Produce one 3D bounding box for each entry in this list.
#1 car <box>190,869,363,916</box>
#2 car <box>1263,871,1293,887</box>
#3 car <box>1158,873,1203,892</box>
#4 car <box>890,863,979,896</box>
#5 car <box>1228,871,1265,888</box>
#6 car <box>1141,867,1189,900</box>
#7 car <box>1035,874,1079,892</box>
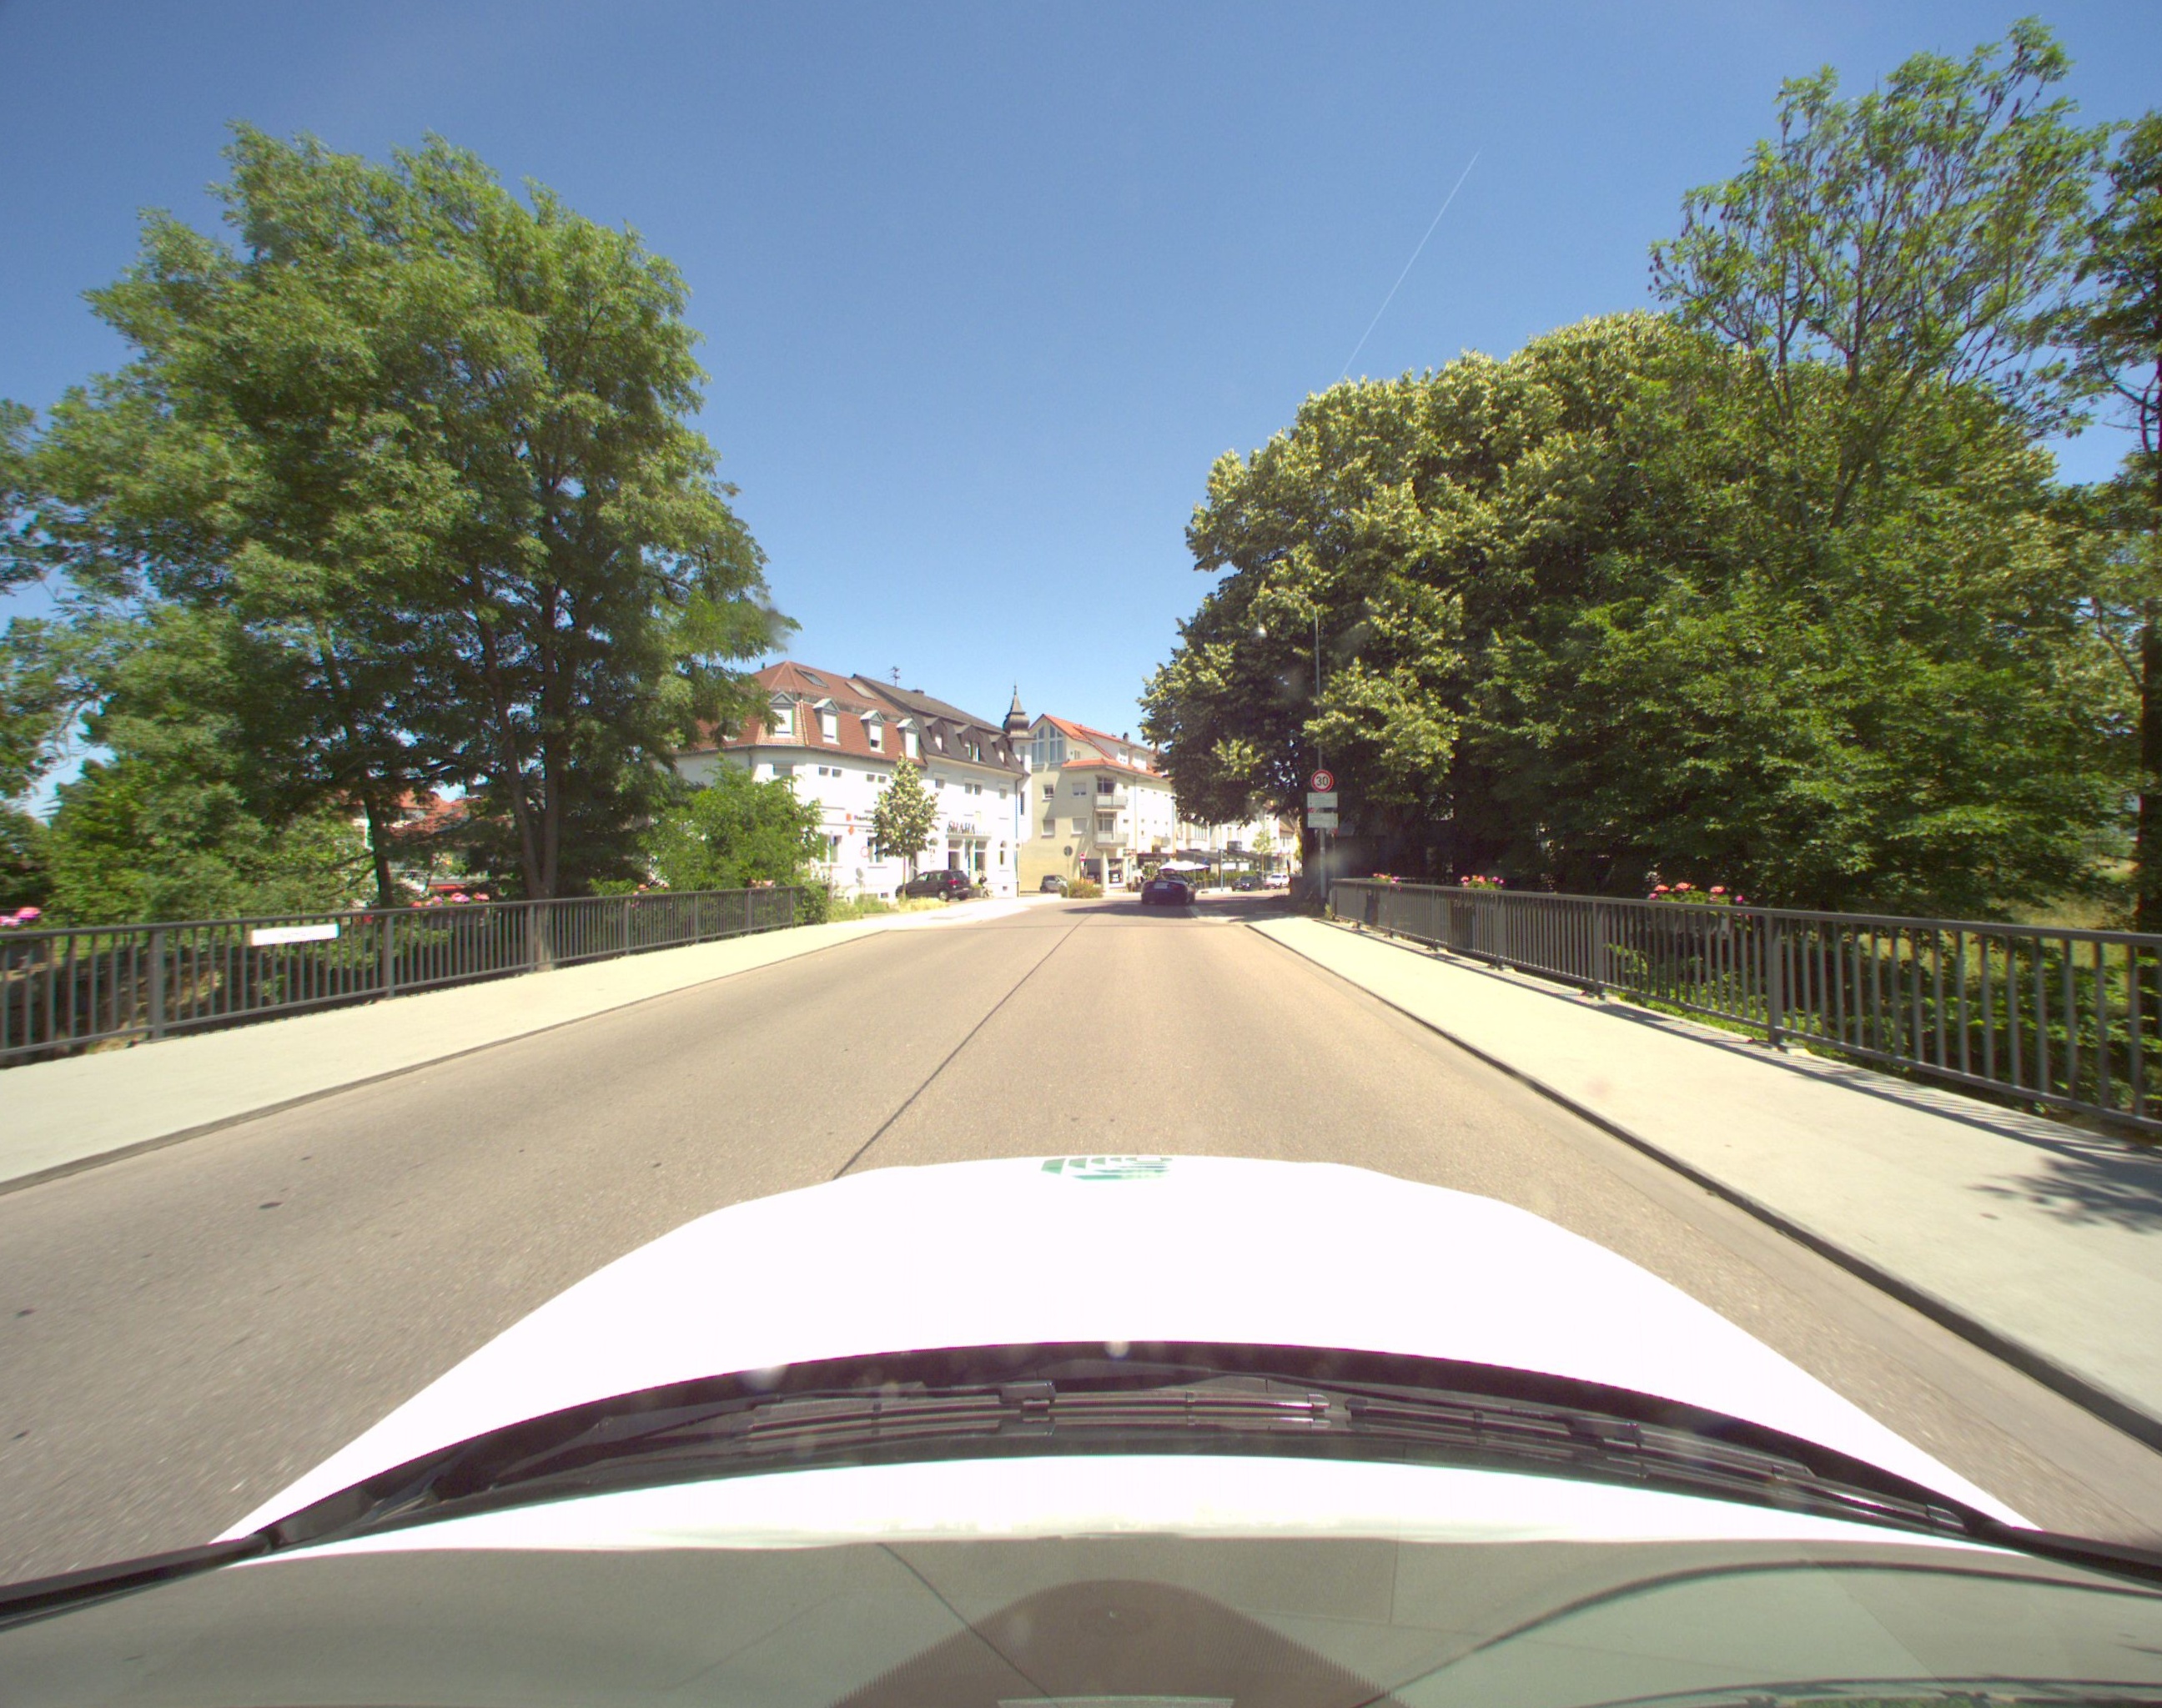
[{"bbox_3d":[-28.884,1.342,29.375,3.985,1.542,1.994,-1,-1,-8],"label":"car"},{"bbox_3d":[19.714,2.482,81.419,1.629,1.479,3.965,0,0,34],"label":"car"},{"bbox_3d":[8.184,2.290,66.544,1.696,1.461,4.155,1,-1,39],"label":"car"},{"bbox_3d":[-7.673,1.322,42.675,4.143,1.662,1.982,-1,-1,24],"label":"car"},{"bbox_3d":[15.258,2.324,75.083,1.817,1.429,4.812,0,-1,31],"label":"car"},{"bbox_3d":[3.597,1.243,35.639,1.863,1.342,4.599,0,-1,3],"label":"car"},{"bbox_3d":[-2.001,2.415,68.370,3.233,1.458,1.701,-2,-1,24],"label":"car"}]
